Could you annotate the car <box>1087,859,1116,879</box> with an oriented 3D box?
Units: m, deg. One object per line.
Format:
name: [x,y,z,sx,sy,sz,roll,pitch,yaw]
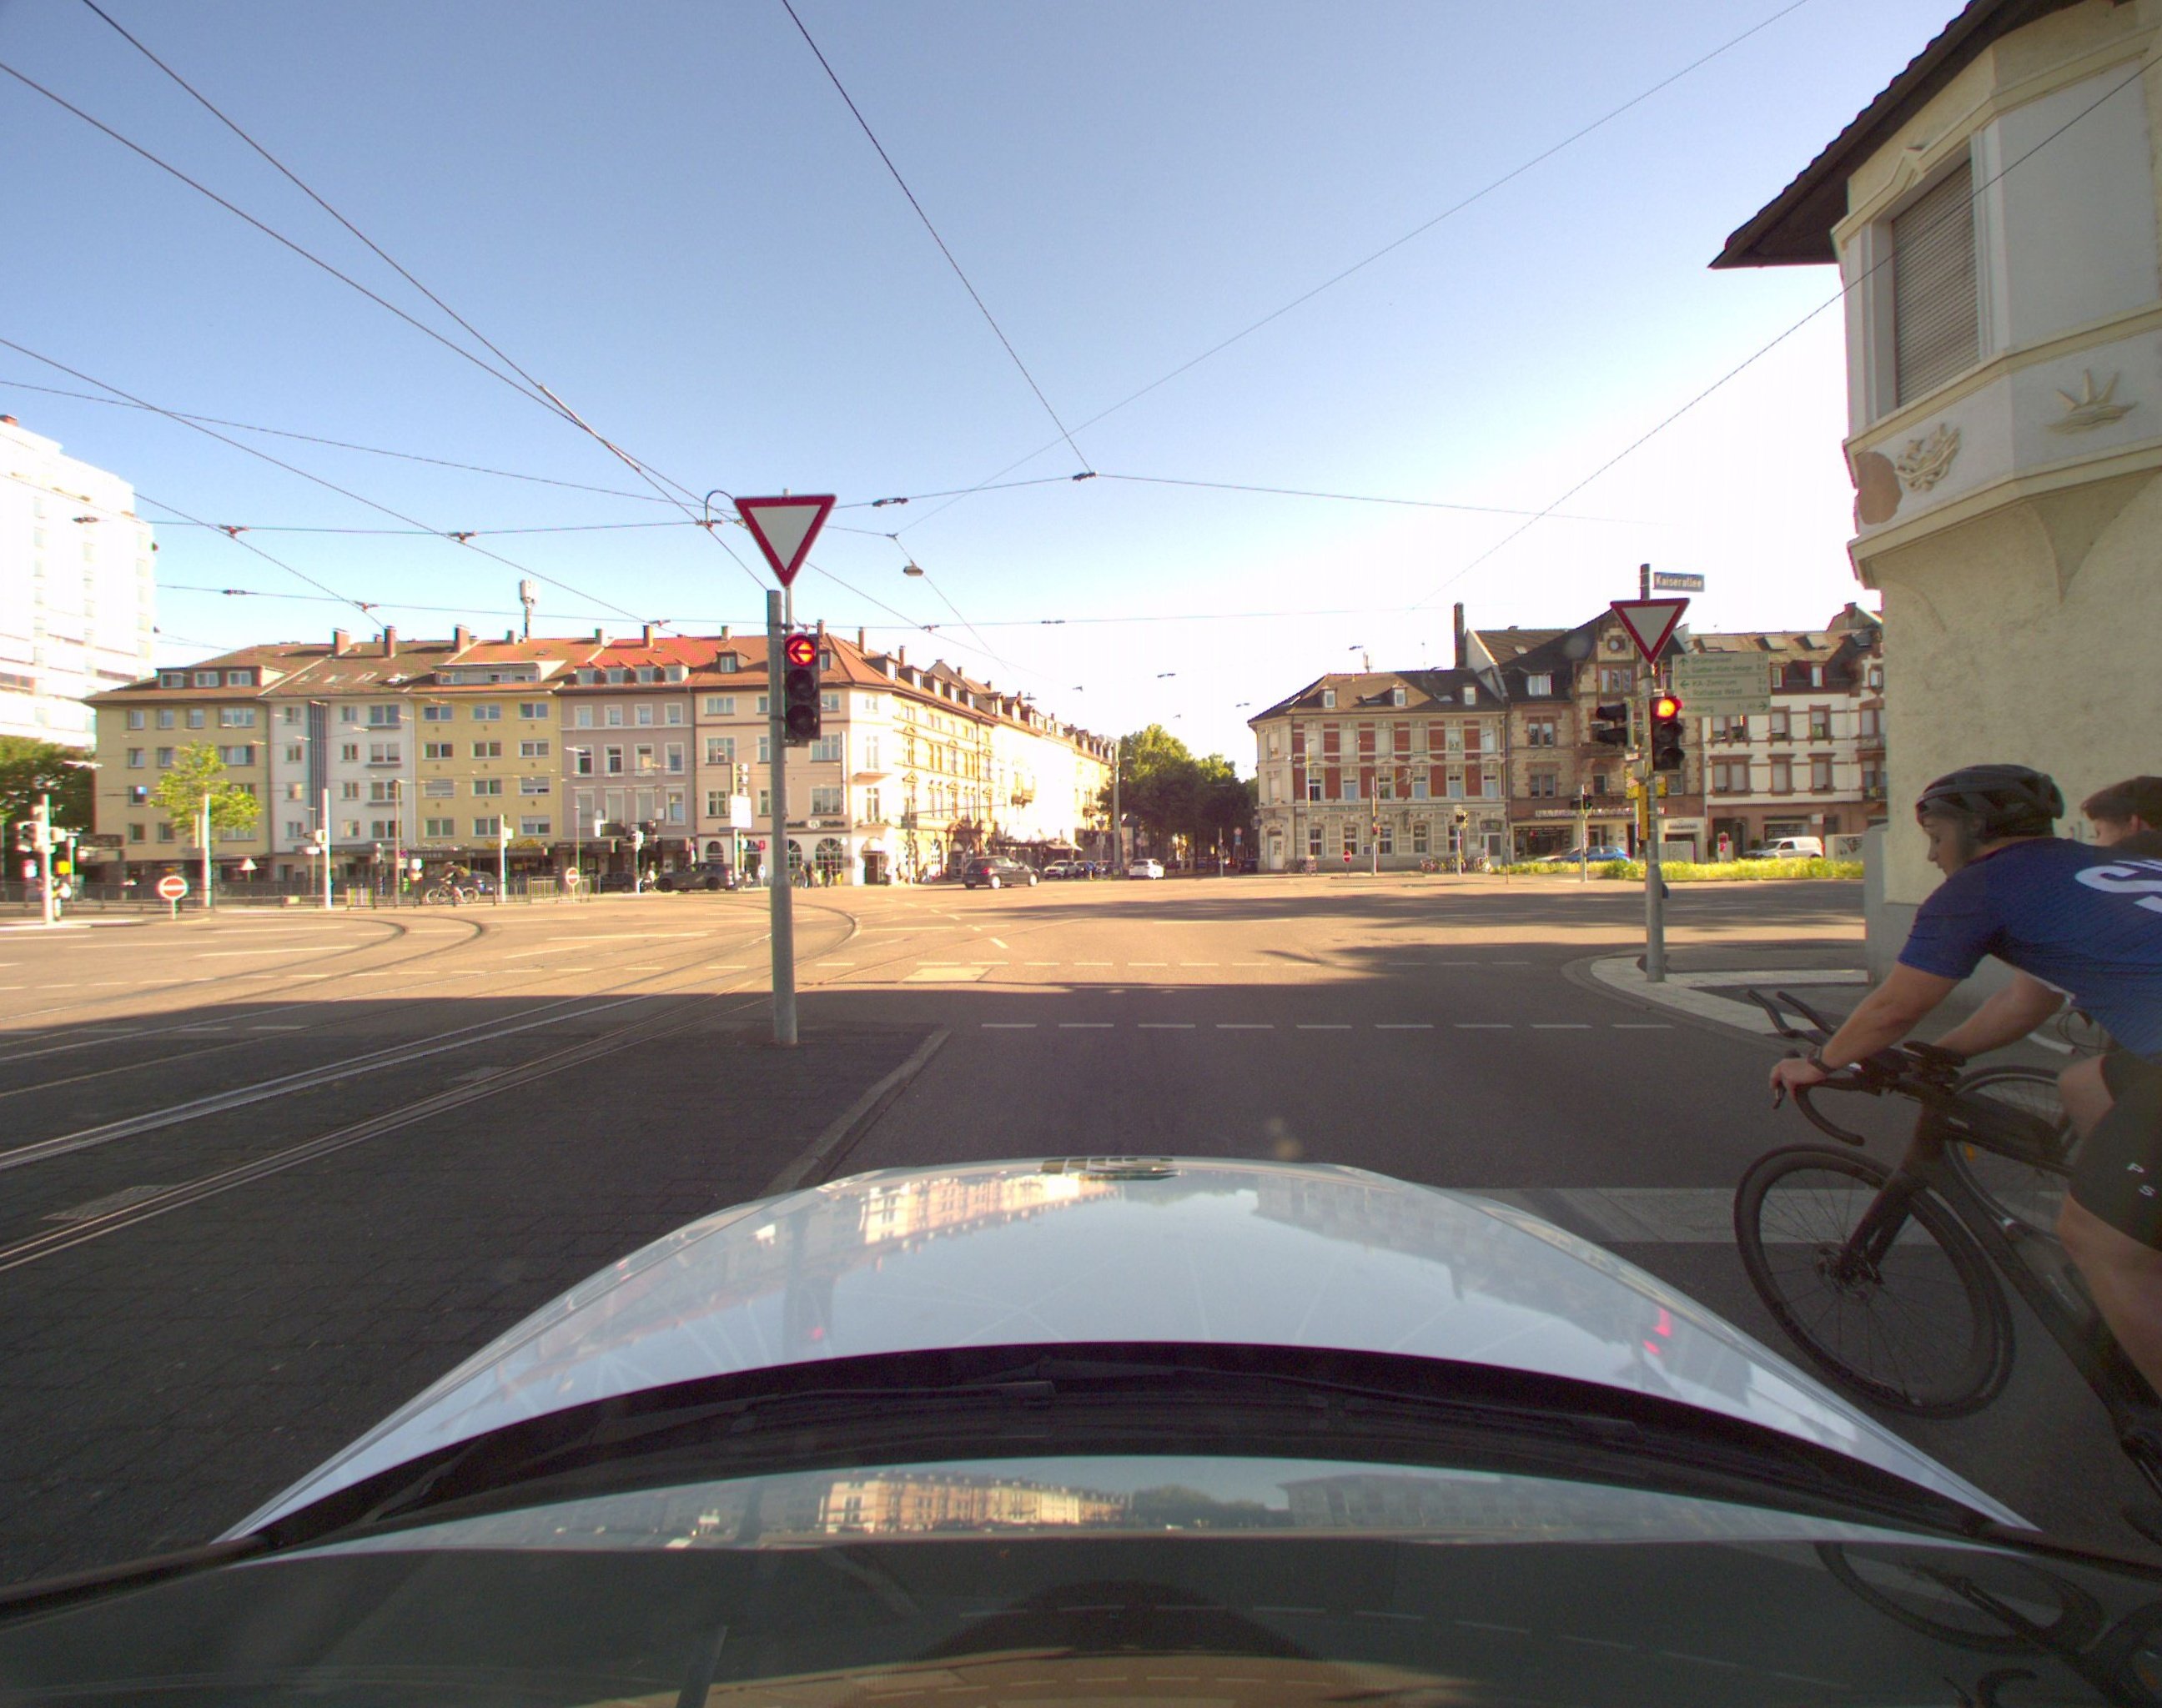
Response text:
car: [2.069,1.404,79.914,1.979,1.904,4.015,-1,-1,14]

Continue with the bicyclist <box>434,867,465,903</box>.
bicyclist: [-25.074,1.224,32.338,0.553,1.366,0.808,-1,-1,33]

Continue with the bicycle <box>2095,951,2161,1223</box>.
bicycle: [4.485,0.909,2.472,0.647,1.031,1.772,0,-1,3]

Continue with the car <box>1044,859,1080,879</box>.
car: [-1.556,1.231,67.425,1.979,1.618,4.015,-1,-1,14]

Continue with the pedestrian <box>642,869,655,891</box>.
pedestrian: [-29.752,1.773,56.022,0.631,1.477,0.465,0,-1,-2]

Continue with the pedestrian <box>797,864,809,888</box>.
pedestrian: [-18.328,1.451,53.606,0.631,1.612,0.465,0,-1,-2]

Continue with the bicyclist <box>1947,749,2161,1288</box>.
bicyclist: [3.621,0.489,2.578,0.803,1.606,0.883,0,-1,0]

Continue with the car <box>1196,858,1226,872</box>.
car: [18.344,1.564,114.718,3.955,1.904,2.009,-1,-1,17]

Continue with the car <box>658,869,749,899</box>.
car: [-20.974,1.659,45.396,4.151,1.618,1.953,0,-1,0]

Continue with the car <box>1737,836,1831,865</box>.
car: [45.312,-0.230,52.561,4.349,1.778,2.000,0,-1,1]

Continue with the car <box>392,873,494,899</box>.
car: [-35.641,1.777,45.584,3.979,1.376,1.997,0,-1,-4]

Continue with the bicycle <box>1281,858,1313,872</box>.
bicycle: [15.083,0.781,56.885,2.040,0.998,0.631,-1,-1,4]

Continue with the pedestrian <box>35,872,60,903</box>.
pedestrian: [-53.602,1.735,42.227,0.523,1.628,0.577,0,-1,0]

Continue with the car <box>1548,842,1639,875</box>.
car: [28.343,0.267,45.132,3.769,1.778,2.000,0,-1,1]

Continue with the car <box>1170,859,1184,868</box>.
car: [16.079,1.558,136.151,1.546,1.513,3.673,-1,-1,19]

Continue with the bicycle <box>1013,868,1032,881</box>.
bicycle: [-4.730,1.635,65.553,0.756,1.008,2.406,-1,-1,16]

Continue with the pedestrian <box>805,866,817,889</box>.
pedestrian: [-17.637,1.508,53.118,0.631,1.477,0.465,0,-1,-2]

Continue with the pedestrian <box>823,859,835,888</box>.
pedestrian: [-16.626,1.282,53.728,0.631,1.881,0.465,0,-1,-2]

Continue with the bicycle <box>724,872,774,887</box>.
bicycle: [-23.423,1.790,57.461,3.118,0.980,1.002,0,-1,1]

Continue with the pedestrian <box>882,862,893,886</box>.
pedestrian: [-13.261,1.354,55.873,0.631,1.634,0.700,0,-1,-2]

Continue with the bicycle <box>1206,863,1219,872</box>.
bicycle: [15.998,1.651,98.858,0.630,1.085,1.687,0,-1,-28]

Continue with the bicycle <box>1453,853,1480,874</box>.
bicycle: [24.776,0.621,52.381,0.626,1.287,2.663,0,-1,3]

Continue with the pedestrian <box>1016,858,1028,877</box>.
pedestrian: [-4.758,1.106,65.484,0.814,1.512,0.601,-1,-1,16]

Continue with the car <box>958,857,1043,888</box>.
car: [-3.720,0.834,38.018,1.737,1.362,3.880,-1,-1,38]

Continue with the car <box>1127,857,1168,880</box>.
car: [4.633,0.978,56.521,1.756,1.530,4.020,-1,-1,21]

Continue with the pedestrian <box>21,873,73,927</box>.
pedestrian: [-31.573,1.394,24.878,0.697,1.634,0.681,0,-1,-3]

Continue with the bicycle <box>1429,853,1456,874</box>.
bicycle: [23.262,0.622,52.416,0.689,1.287,2.663,0,-1,3]

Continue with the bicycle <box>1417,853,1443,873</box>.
bicycle: [22.453,0.582,52.419,0.689,1.287,2.663,0,-1,3]

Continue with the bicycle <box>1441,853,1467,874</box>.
bicycle: [23.986,0.617,52.409,0.626,1.287,2.663,0,-1,3]

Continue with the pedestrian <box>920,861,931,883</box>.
pedestrian: [-11.747,1.335,61.433,0.539,1.631,0.709,-1,-1,15]

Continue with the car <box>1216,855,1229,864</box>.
car: [23.295,0.919,134.347,1.546,1.513,3.673,-1,-1,19]

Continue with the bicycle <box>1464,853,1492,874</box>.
bicycle: [25.503,0.602,52.377,0.626,1.287,2.663,0,-1,3]

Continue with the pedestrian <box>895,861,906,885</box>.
pedestrian: [-12.732,1.334,57.361,0.631,1.634,0.700,0,-1,-2]

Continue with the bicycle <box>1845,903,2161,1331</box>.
bicycle: [3.645,0.825,2.632,0.752,1.236,1.702,0,-1,0]

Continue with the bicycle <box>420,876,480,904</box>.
bicycle: [-25.073,1.418,32.387,0.567,1.070,1.806,-1,-1,32]

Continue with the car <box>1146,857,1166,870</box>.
car: [11.310,1.435,122.833,1.977,1.904,4.019,-1,-1,19]

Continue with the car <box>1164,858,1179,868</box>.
car: [14.691,1.411,131.845,1.546,1.513,3.673,-1,-1,19]

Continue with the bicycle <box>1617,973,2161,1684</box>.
bicycle: [2.189,0.943,1.880,0.625,1.085,1.698,0,-1,-8]

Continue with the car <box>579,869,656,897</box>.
car: [-30.587,1.918,53.813,3.962,1.670,2.006,-2,0,10]

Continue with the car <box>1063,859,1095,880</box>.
car: [-0.127,1.371,73.846,1.979,1.904,4.015,-1,-1,14]

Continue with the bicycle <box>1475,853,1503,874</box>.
bicycle: [26.199,0.609,52.348,0.626,1.287,2.663,0,-1,3]

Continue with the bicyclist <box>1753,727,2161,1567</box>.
bicyclist: [2.190,0.511,1.807,0.638,1.494,0.881,-1,1,-8]

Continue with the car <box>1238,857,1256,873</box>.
car: [16.821,1.140,82.356,1.680,1.565,3.855,-1,-1,14]
